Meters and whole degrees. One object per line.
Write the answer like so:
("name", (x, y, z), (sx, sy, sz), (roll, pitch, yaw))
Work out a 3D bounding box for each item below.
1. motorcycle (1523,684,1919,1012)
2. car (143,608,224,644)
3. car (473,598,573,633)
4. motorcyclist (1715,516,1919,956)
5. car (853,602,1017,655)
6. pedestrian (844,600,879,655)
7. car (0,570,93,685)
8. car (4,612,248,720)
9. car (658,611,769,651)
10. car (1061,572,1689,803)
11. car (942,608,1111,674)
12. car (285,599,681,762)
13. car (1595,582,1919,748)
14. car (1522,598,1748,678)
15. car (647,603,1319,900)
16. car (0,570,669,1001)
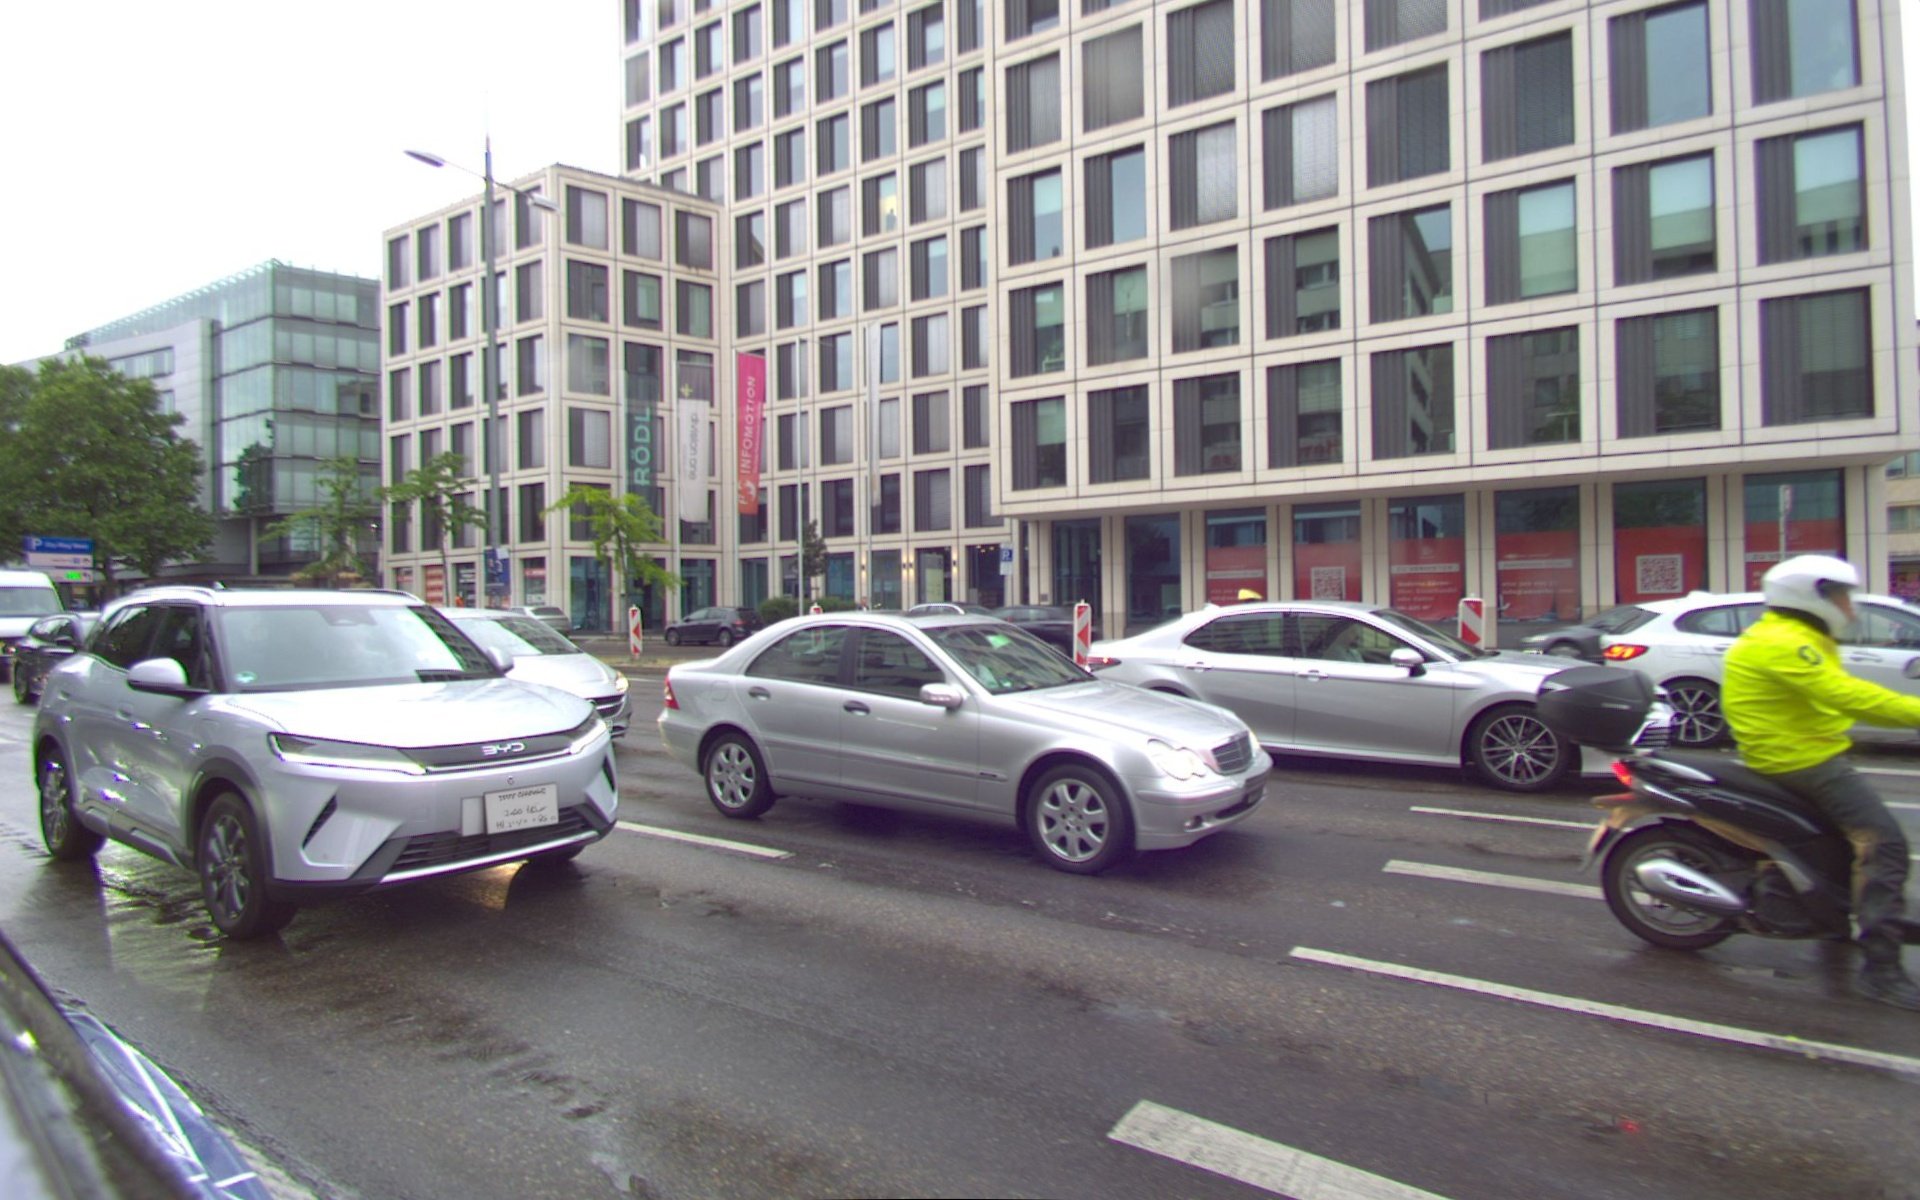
("motorcycle", (3.458, 0.891, 3.838), (2.285, 0.997, 0.935), (-1, 0, 31))
("car", (-45.978, 1.512, 59.900), (4.894, 2.029, 1.981), (0, 1, 29))
("car", (-18.833, 0.697, 43.579), (4.355, 1.435, 1.686), (-1, -2, 29))
("motorcyclist", (3.564, 0.452, 3.765), (1.096, 1.486, 0.935), (0, 1, 31))
("car", (-0.851, 0.913, 32.682), (5.162, 1.581, 1.686), (-1, -2, 29))
("pedestrian", (-3.175, 0.882, 32.594), (0.964, 1.747, 0.608), (0, 0, 32))
("car", (-22.046, 0.575, 23.099), (5.710, 2.403, 2.233), (0, 1, 37))
("car", (-13.139, 0.931, 15.885), (4.231, 1.412, 1.883), (0, 1, 35))
("car", (-9.150, 1.139, 37.533), (3.939, 1.435, 1.686), (-1, -2, 29))
("car", (3.419, 0.574, 8.866), (4.791, 1.533, 1.815), (0, 1, 36))
("car", (1.622, 0.983, 24.968), (3.858, 1.530, 1.686), (-1, -2, 29))
("car", (-5.253, 0.757, 11.103), (4.105, 1.490, 1.760), (0, 1, 26))
("car", (8.245, 0.536, 9.358), (3.983, 1.383, 1.768), (0, 1, 34))
("car", (13.861, 0.768, 21.039), (3.669, 1.530, 1.688), (-1, -2, 27))
("car", (-0.028, 0.746, 6.891), (4.373, 1.414, 1.718), (0, 1, 35))
("car", (-3.773, 0.712, 5.853), (4.160, 1.673, 1.793), (0, 1, 34))
